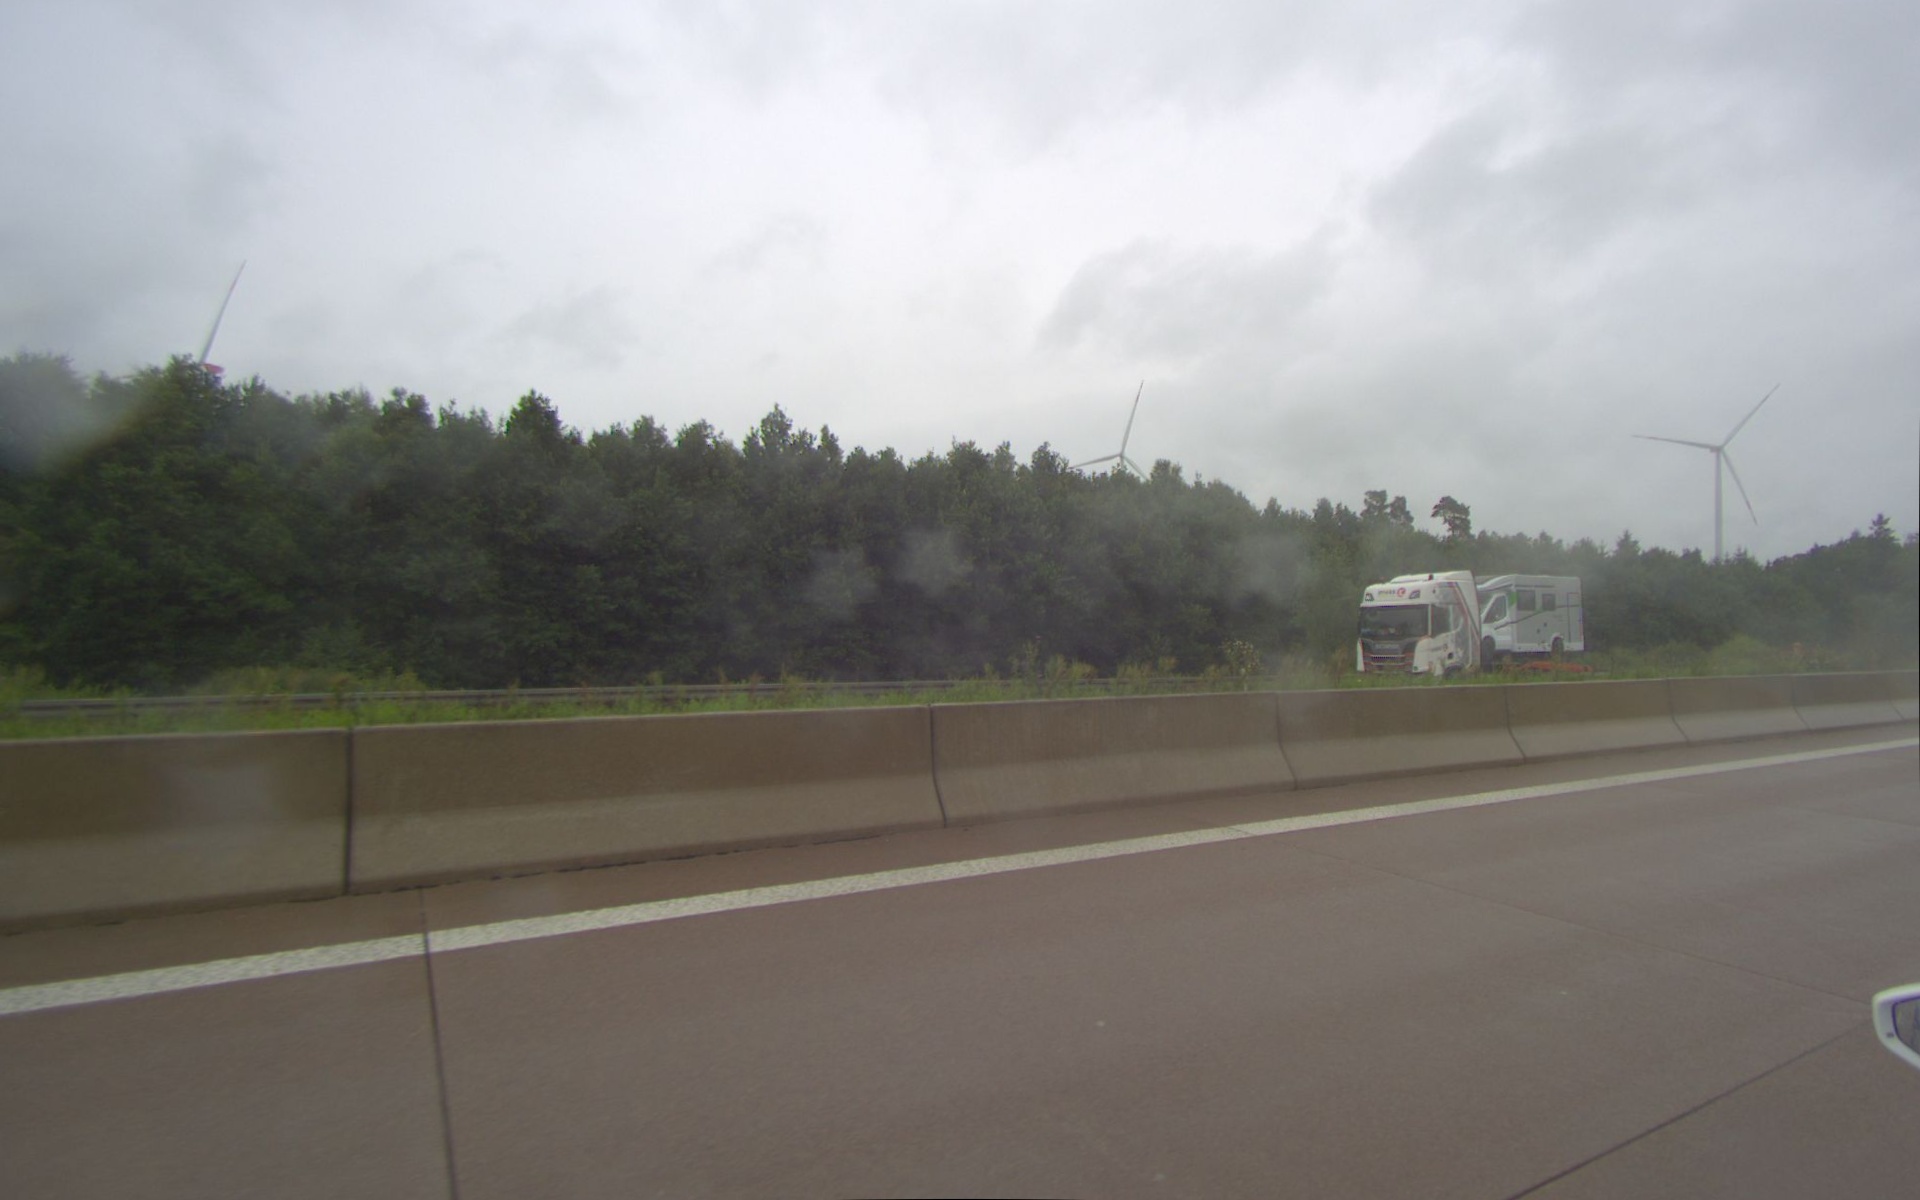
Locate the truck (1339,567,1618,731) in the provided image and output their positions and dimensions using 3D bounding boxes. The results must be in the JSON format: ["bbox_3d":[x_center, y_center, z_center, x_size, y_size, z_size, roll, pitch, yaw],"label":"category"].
[{"bbox_3d":[16.356,1.436,31.426,9.444,4.532,3.131,1,0,-30],"label":"truck"}]
